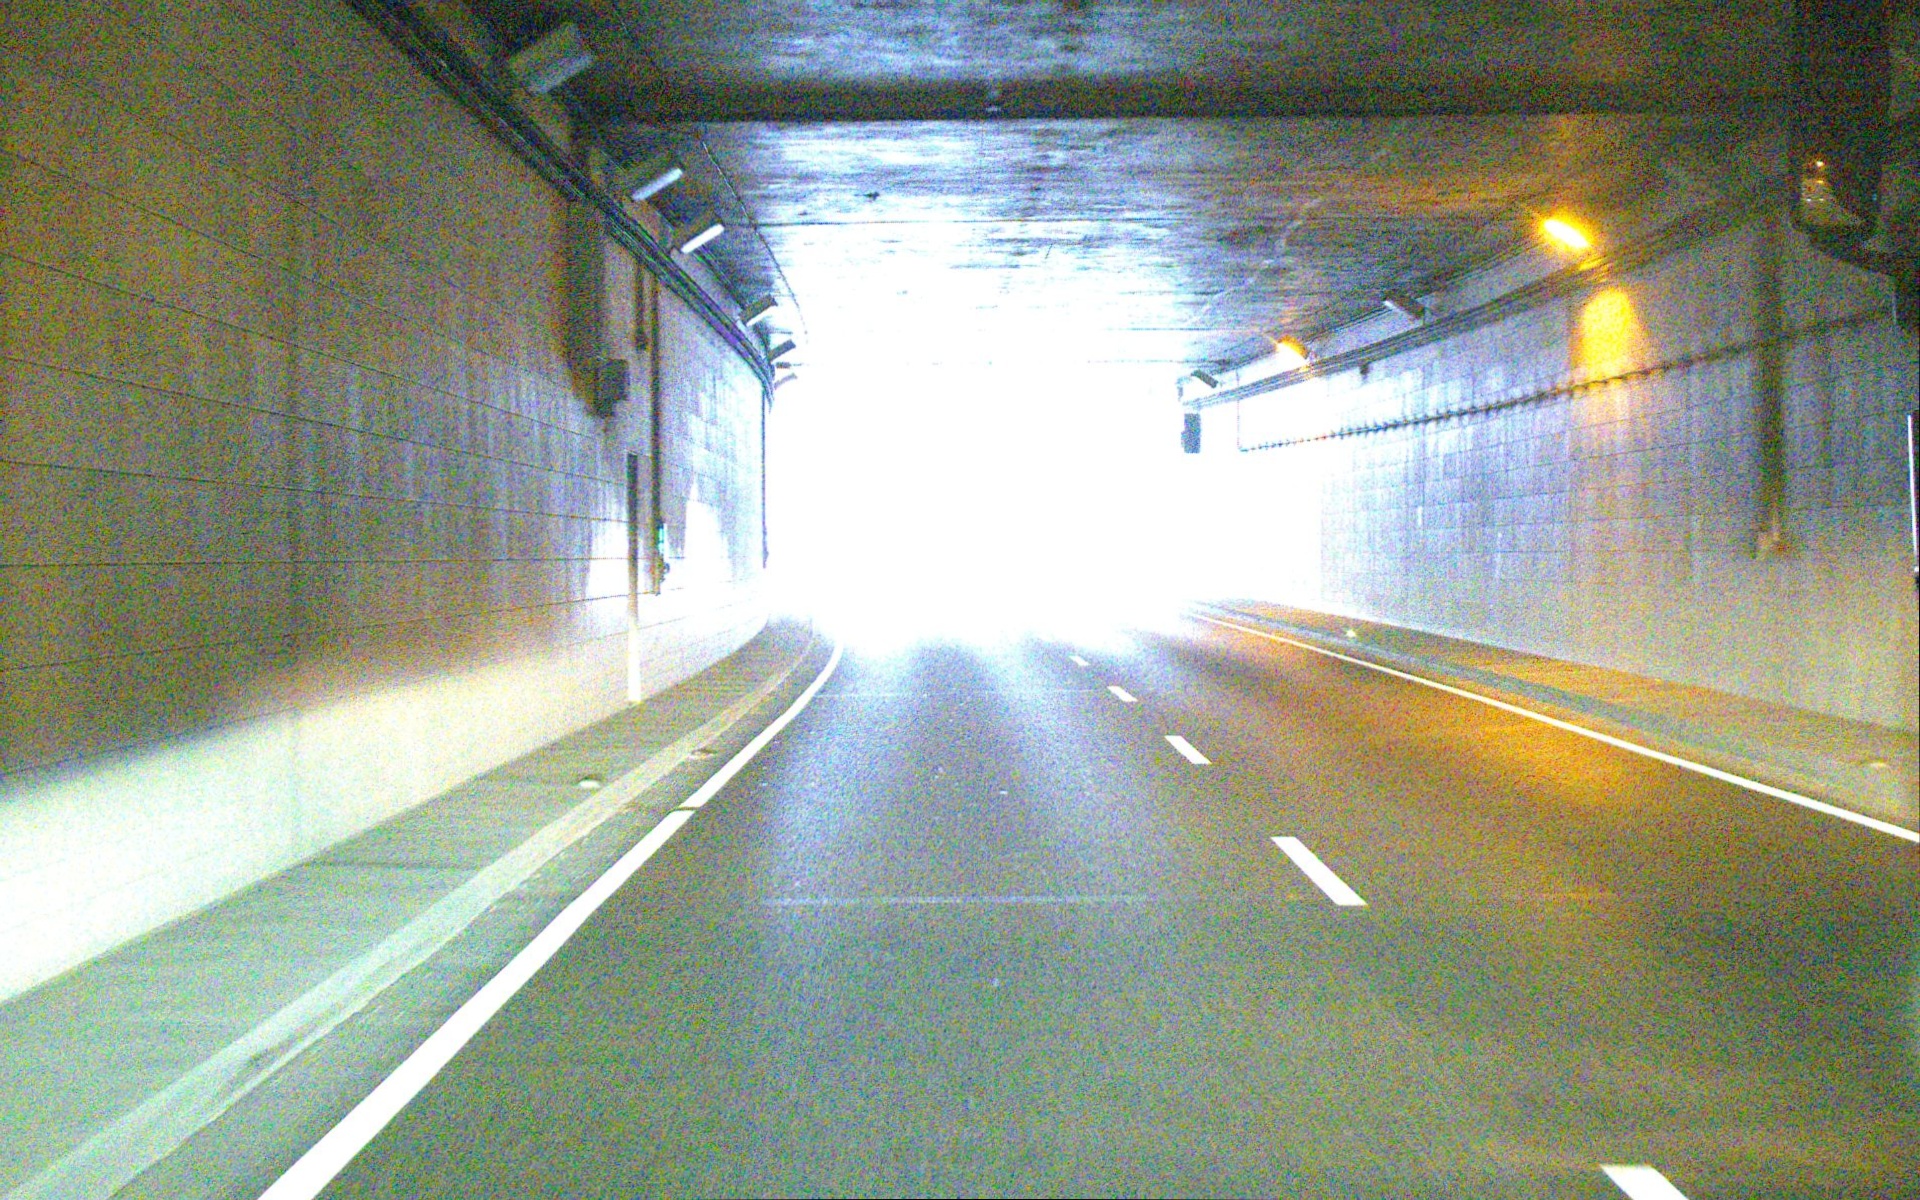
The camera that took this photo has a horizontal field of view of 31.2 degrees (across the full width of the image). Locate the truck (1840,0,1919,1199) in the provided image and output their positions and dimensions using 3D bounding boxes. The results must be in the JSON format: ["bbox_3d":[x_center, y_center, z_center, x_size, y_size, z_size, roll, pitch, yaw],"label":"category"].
[{"bbox_3d":[3.292,-0.506,2.538,2.889,3.900,9.909,-1,1,1],"label":"truck"}]

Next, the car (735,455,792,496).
[{"bbox_3d":[-8.892,-5.628,155.275,1.869,1.726,4.001,-1,1,-13],"label":"car"}]
